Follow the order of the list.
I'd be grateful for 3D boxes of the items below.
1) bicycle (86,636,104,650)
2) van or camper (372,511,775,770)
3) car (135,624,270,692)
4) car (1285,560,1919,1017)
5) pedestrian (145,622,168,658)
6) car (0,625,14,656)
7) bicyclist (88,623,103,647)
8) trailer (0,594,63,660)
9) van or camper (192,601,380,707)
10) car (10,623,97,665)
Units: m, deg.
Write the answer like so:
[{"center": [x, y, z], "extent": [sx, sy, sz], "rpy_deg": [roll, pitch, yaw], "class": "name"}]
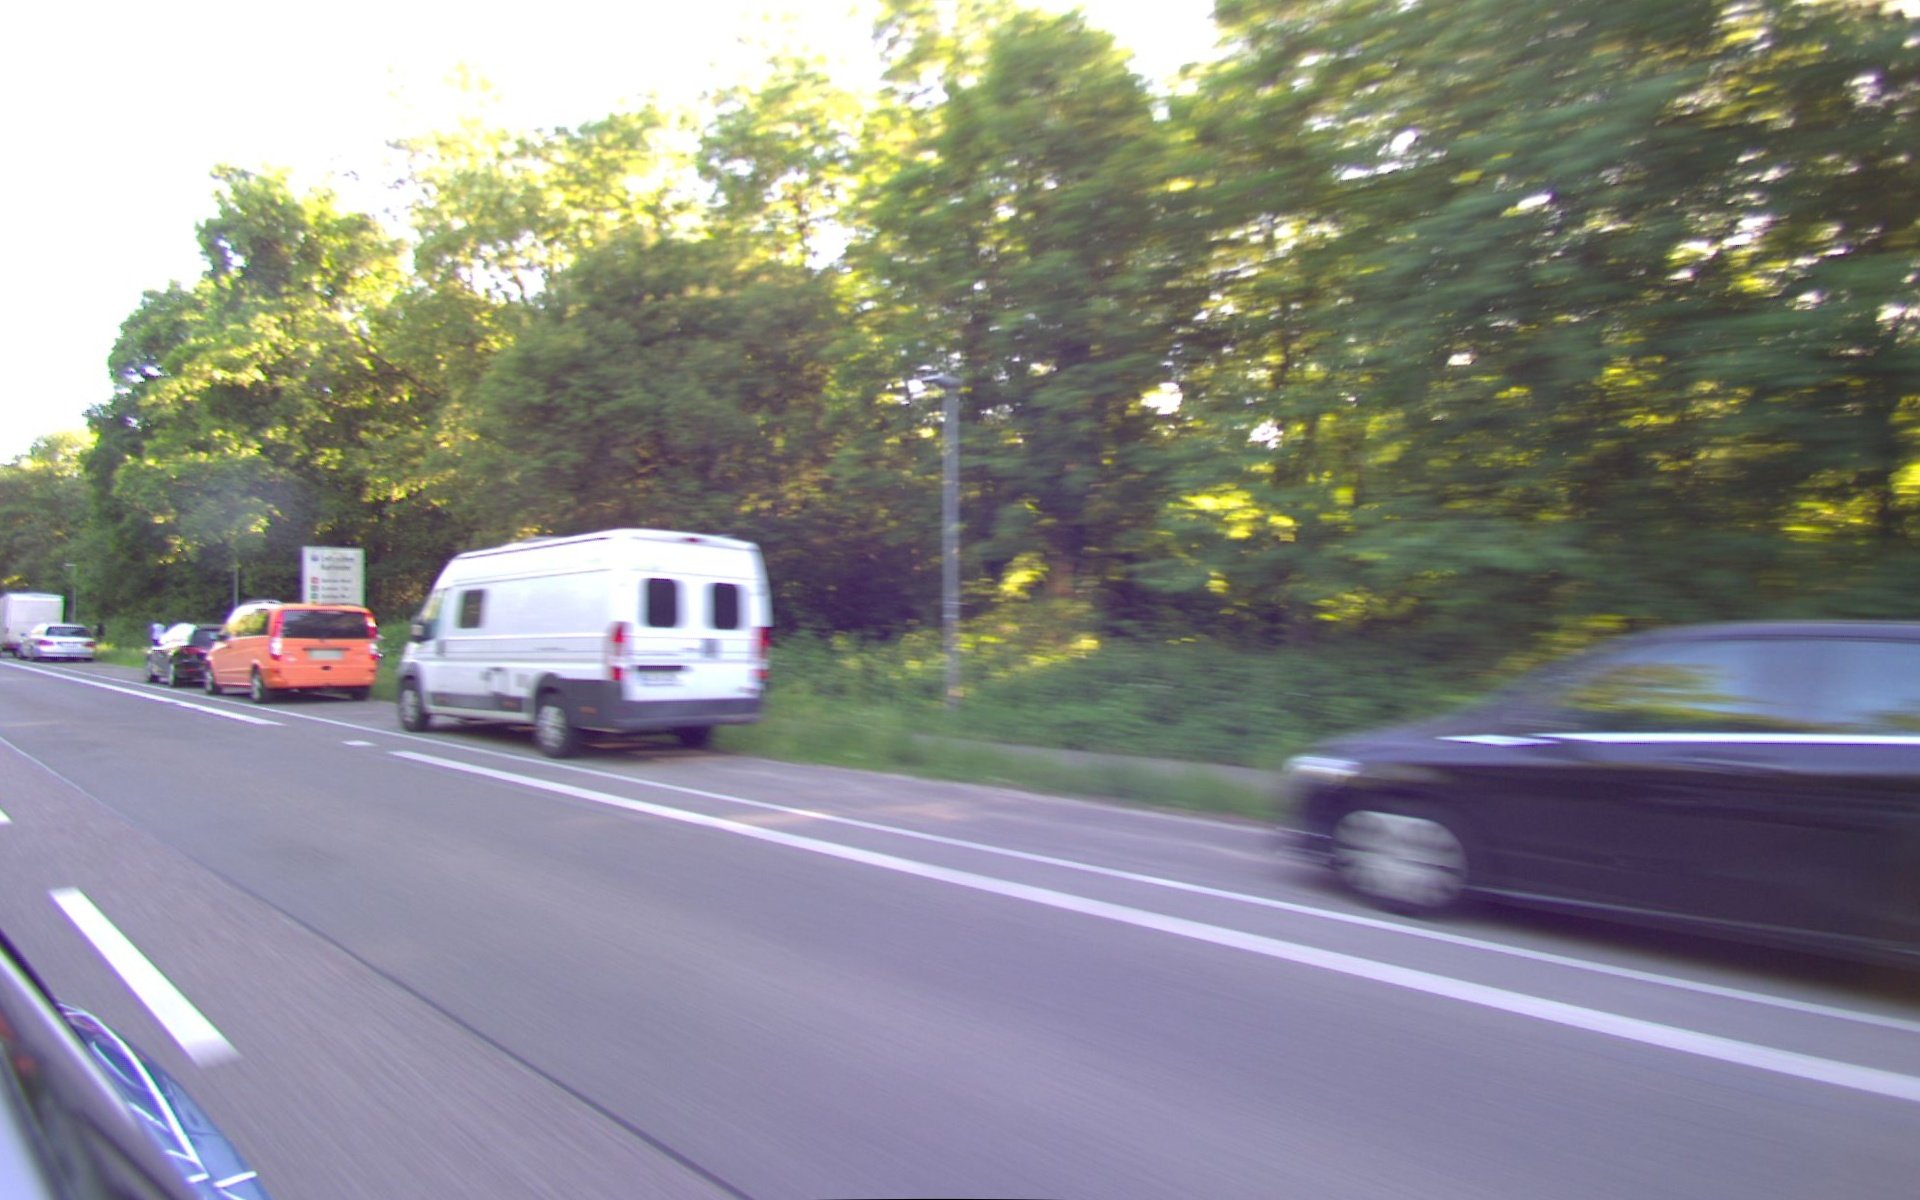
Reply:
[{"center": [-46.484, 2.321, 54.366], "extent": [1.486, 0.718, 0.516], "rpy_deg": [-1, -1, 41], "class": "bicycle"}, {"center": [-5.282, 0.476, 13.130], "extent": [6.539, 2.592, 2.098], "rpy_deg": [-1, -2, 41], "class": "van or camper"}, {"center": [-18.083, 1.333, 24.093], "extent": [4.322, 1.489, 1.713], "rpy_deg": [-1, -3, 41], "class": "car"}, {"center": [3.947, 0.731, 4.645], "extent": [1.760, 1.697, 4.380], "rpy_deg": [3, -3, -44], "class": "car"}, {"center": [-36.373, 1.795, 45.820], "extent": [0.700, 1.579, 0.706], "rpy_deg": [-1, -1, 41], "class": "pedestrian"}, {"center": [-50.321, 2.057, 52.188], "extent": [4.522, 1.552, 1.756], "rpy_deg": [-1, -3, 41], "class": "car"}, {"center": [-46.392, 1.872, 54.297], "extent": [0.973, 1.244, 0.482], "rpy_deg": [-1, -1, 41], "class": "bicyclist"}, {"center": [-39.076, 1.149, 42.142], "extent": [4.413, 2.617, 1.972], "rpy_deg": [-1, -4, 41], "class": "trailer"}, {"center": [-13.553, 1.033, 20.235], "extent": [4.861, 1.881, 1.902], "rpy_deg": [-1, -3, 41], "class": "van or camper"}, {"center": [-33.884, 1.644, 37.780], "extent": [4.622, 1.465, 1.779], "rpy_deg": [-1, -4, 41], "class": "car"}]
